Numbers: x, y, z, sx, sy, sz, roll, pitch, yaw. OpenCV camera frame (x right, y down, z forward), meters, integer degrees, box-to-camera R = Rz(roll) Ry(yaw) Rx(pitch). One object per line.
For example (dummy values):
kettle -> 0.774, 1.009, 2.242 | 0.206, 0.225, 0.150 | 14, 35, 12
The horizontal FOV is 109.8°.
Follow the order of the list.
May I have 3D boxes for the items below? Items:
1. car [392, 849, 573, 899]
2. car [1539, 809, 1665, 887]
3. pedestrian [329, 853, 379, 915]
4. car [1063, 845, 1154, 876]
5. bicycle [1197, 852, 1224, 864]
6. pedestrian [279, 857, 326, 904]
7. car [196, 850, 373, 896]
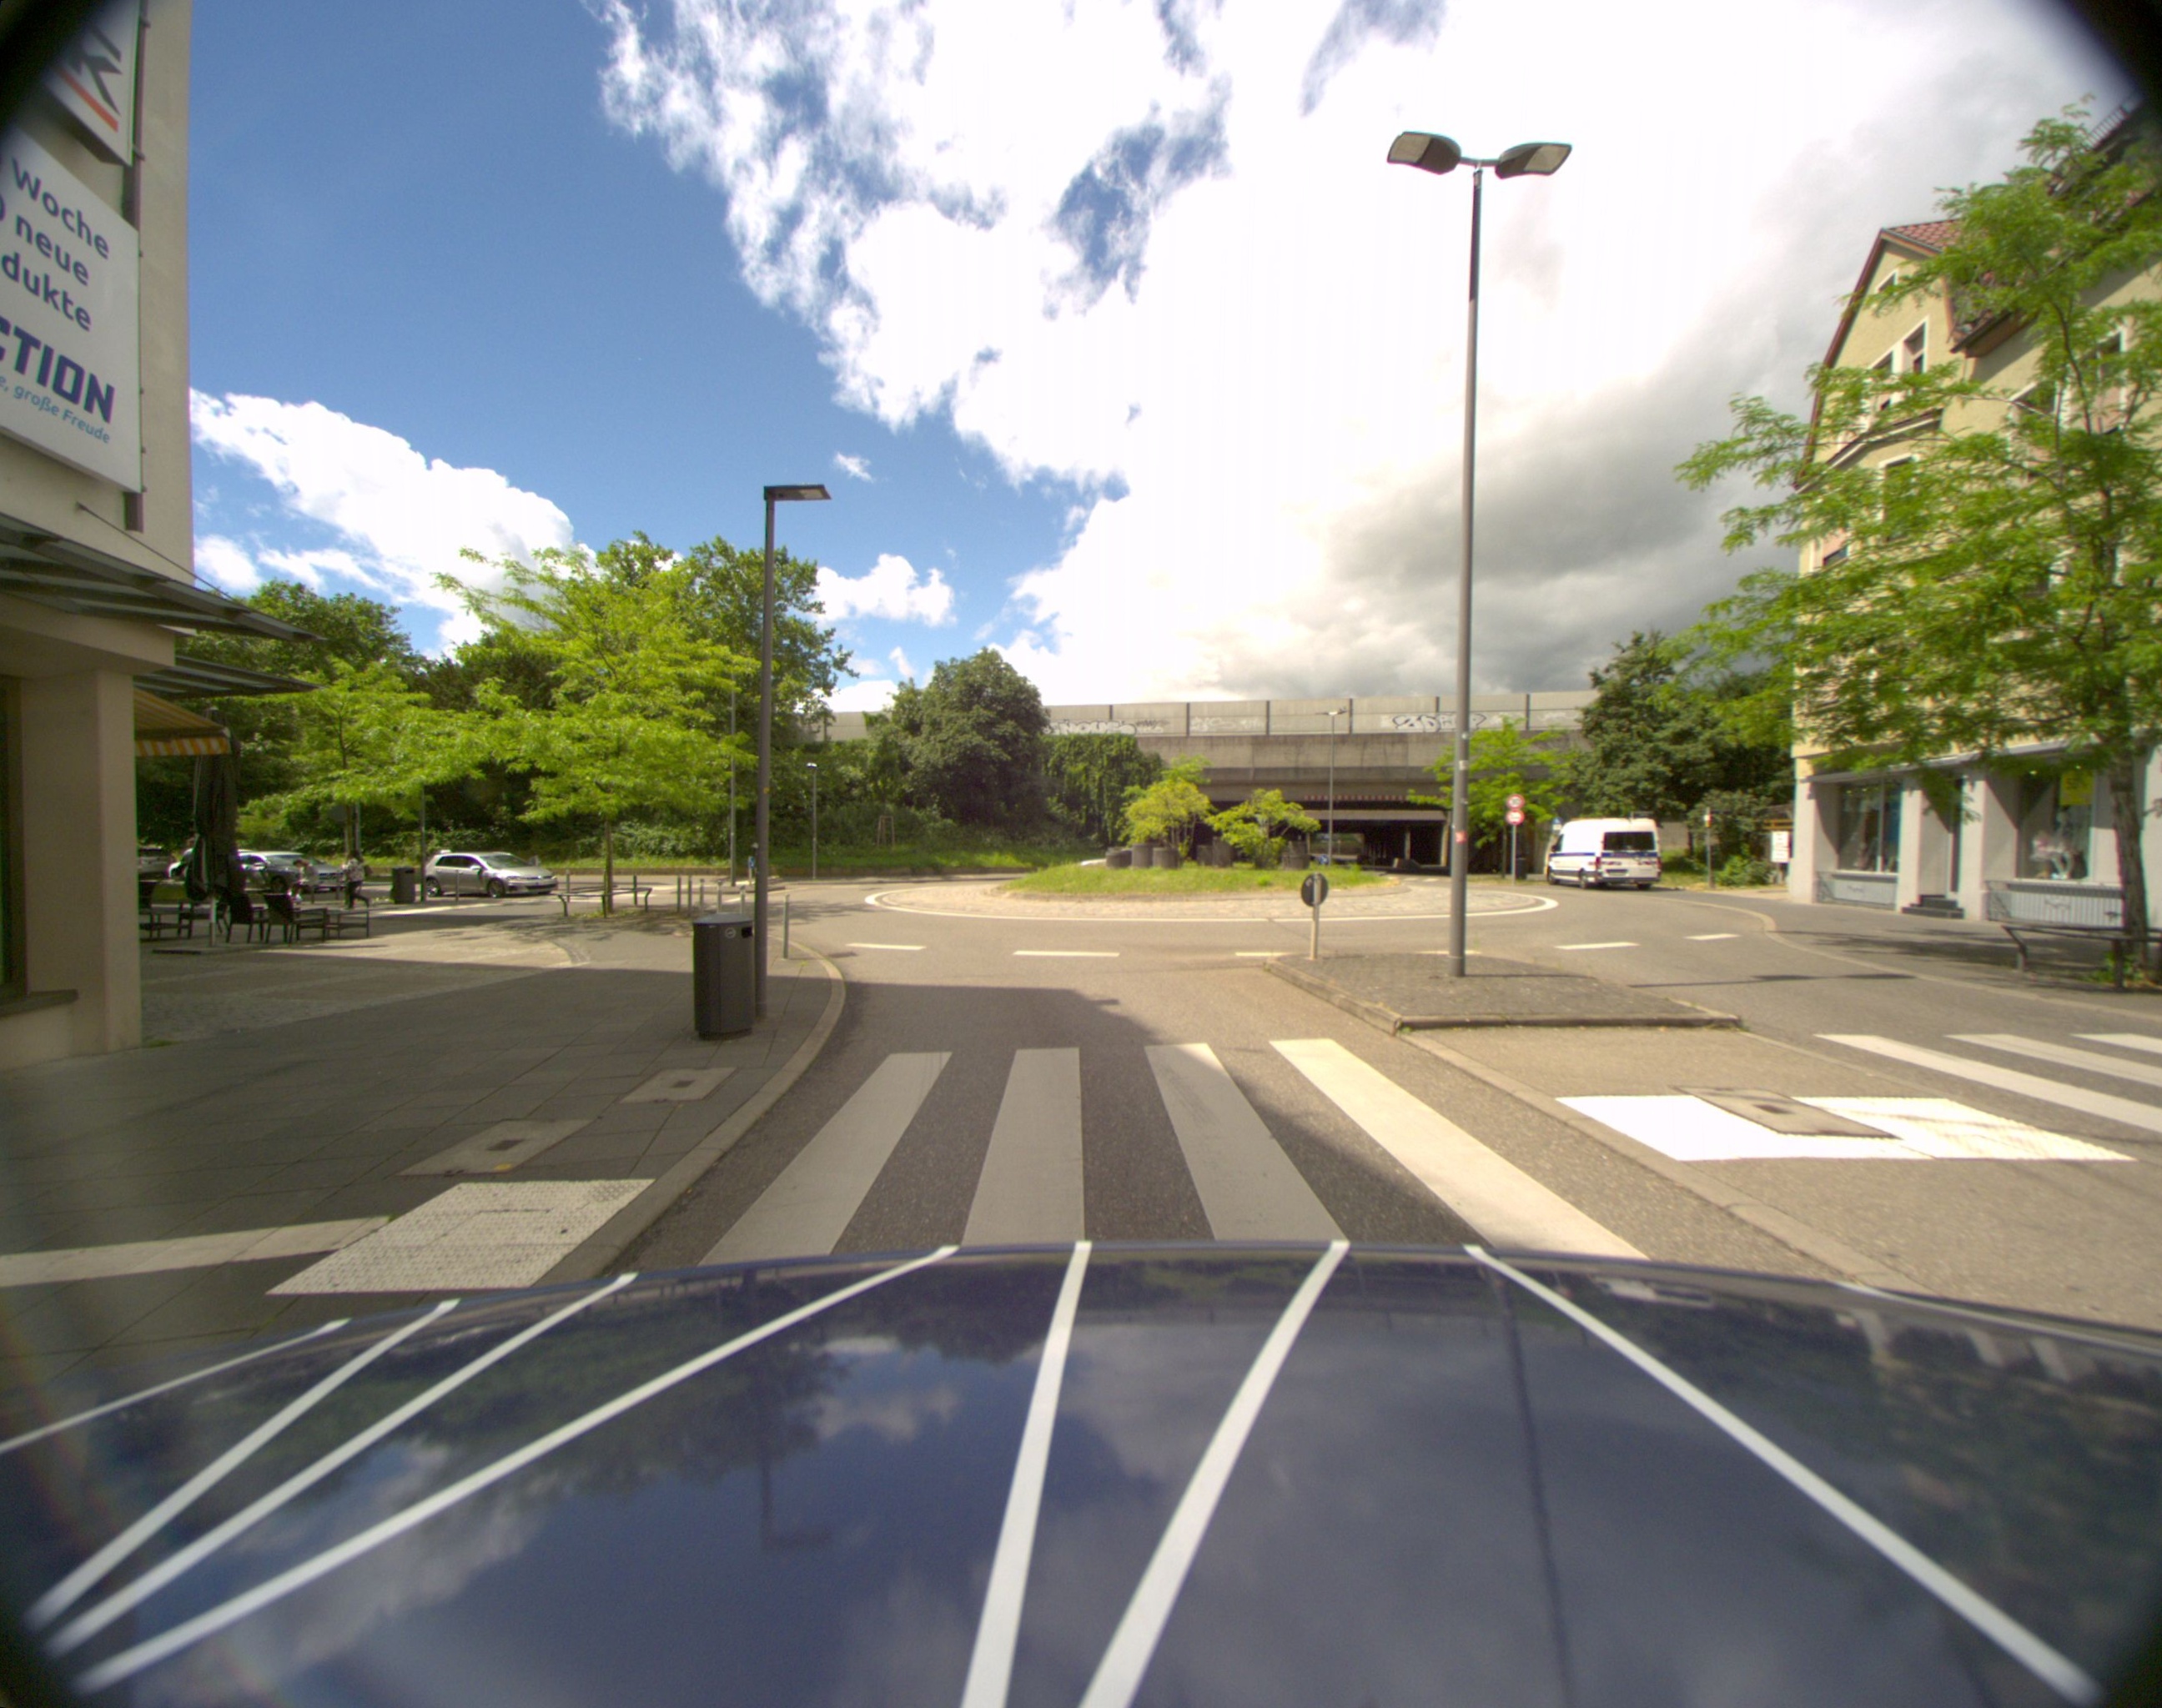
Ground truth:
car -> -19.580, 0.617, 24.954 | 4.578, 1.500, 2.000 | 0, 3, 8
car -> 19.287, -0.205, 28.502 | 1.970, 2.592, 5.937 | -1, 0, 14
pedestrian -> -18.466, 0.738, 19.321 | 0.781, 1.545, 0.763 | -1, 1, -35
car -> 1.217, 0.276, 34.607 | 3.998, 1.346, 1.714 | 0, 1, -3
bicycle -> 9.873, 0.303, 57.750 | 1.947, 0.899, 0.507 | 2, 2, 15
pedestrian -> -21.506, 0.720, 20.998 | 0.616, 1.277, 0.699 | 0, 1, 21
car -> -28.237, 0.647, 27.014 | 4.578, 1.500, 2.000 | 0, 2, 8
